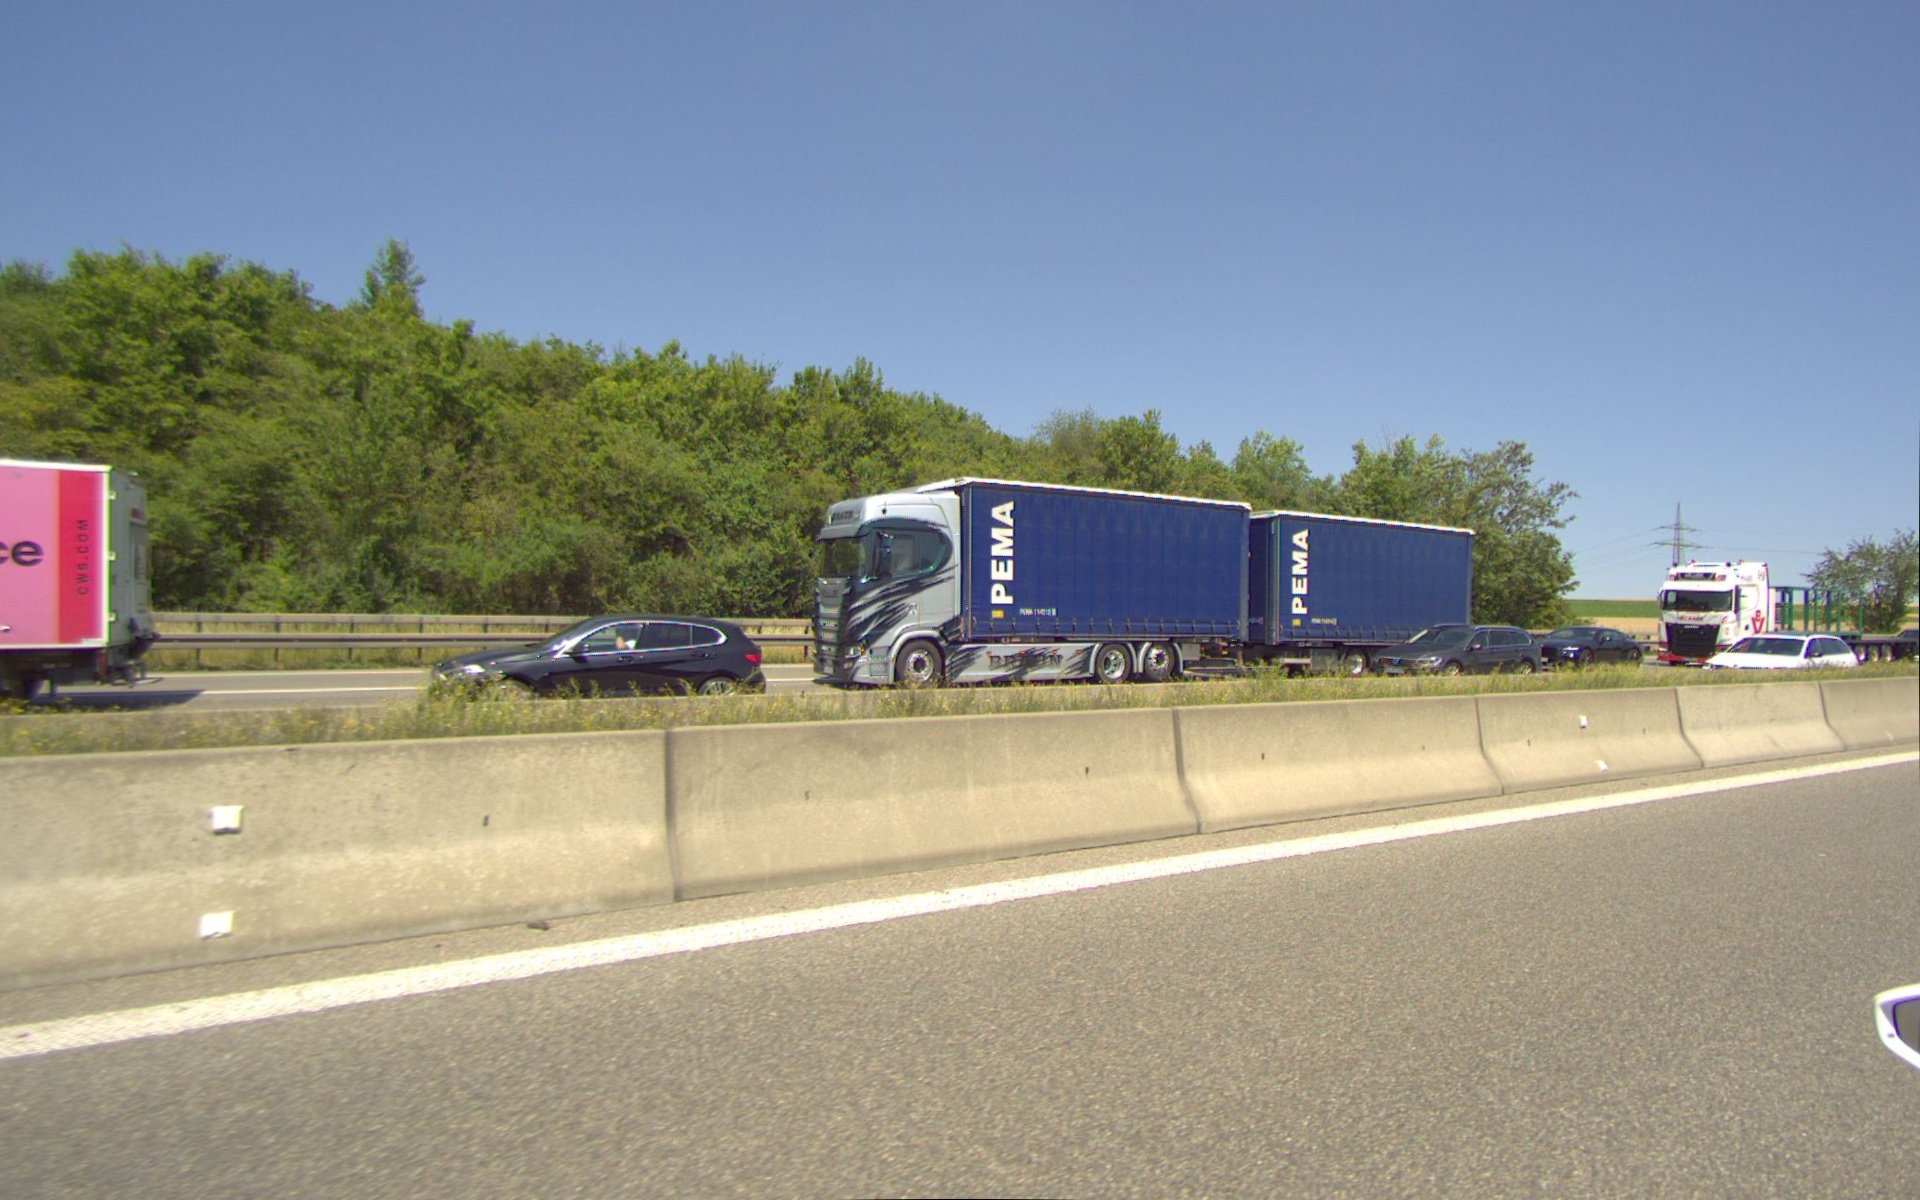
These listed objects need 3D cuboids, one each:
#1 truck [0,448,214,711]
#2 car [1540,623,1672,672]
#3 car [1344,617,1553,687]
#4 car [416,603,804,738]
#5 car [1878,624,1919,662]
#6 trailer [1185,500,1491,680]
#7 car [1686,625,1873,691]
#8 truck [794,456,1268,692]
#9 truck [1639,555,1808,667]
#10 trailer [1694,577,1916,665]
[{"bbox_3d":[-14.143,-0.306,12.508,7.503,3.250,2.525,2,0,-32],"label":"truck"},{"bbox_3d":[20.542,1.492,31.870,4.594,1.450,1.648,2,-1,-31],"label":"car"},{"bbox_3d":[11.614,1.210,23.778,5.111,1.474,1.984,2,-1,-31],"label":"car"},{"bbox_3d":[-4.734,0.887,13.775,4.717,1.547,1.983,2,0,-31],"label":"car"},{"bbox_3d":[45.375,2.101,47.349,4.551,1.652,1.829,4,-1,-30],"label":"car"},{"bbox_3d":[10.306,-0.133,27.066,8.492,4.248,2.972,1,-1,-30],"label":"trailer"},{"bbox_3d":[19.352,1.391,23.678,4.818,1.301,1.829,4,-1,-30],"label":"car"},{"bbox_3d":[1.903,-0.353,22.209,10.607,4.290,2.987,1,-1,-30],"label":"truck"},{"bbox_3d":[28.840,0.436,37.909,6.104,3.928,2.887,1,0,-30],"label":"truck"},{"bbox_3d":[35.085,0.879,41.463,12.630,3.248,2.845,1,0,-30],"label":"trailer"}]
